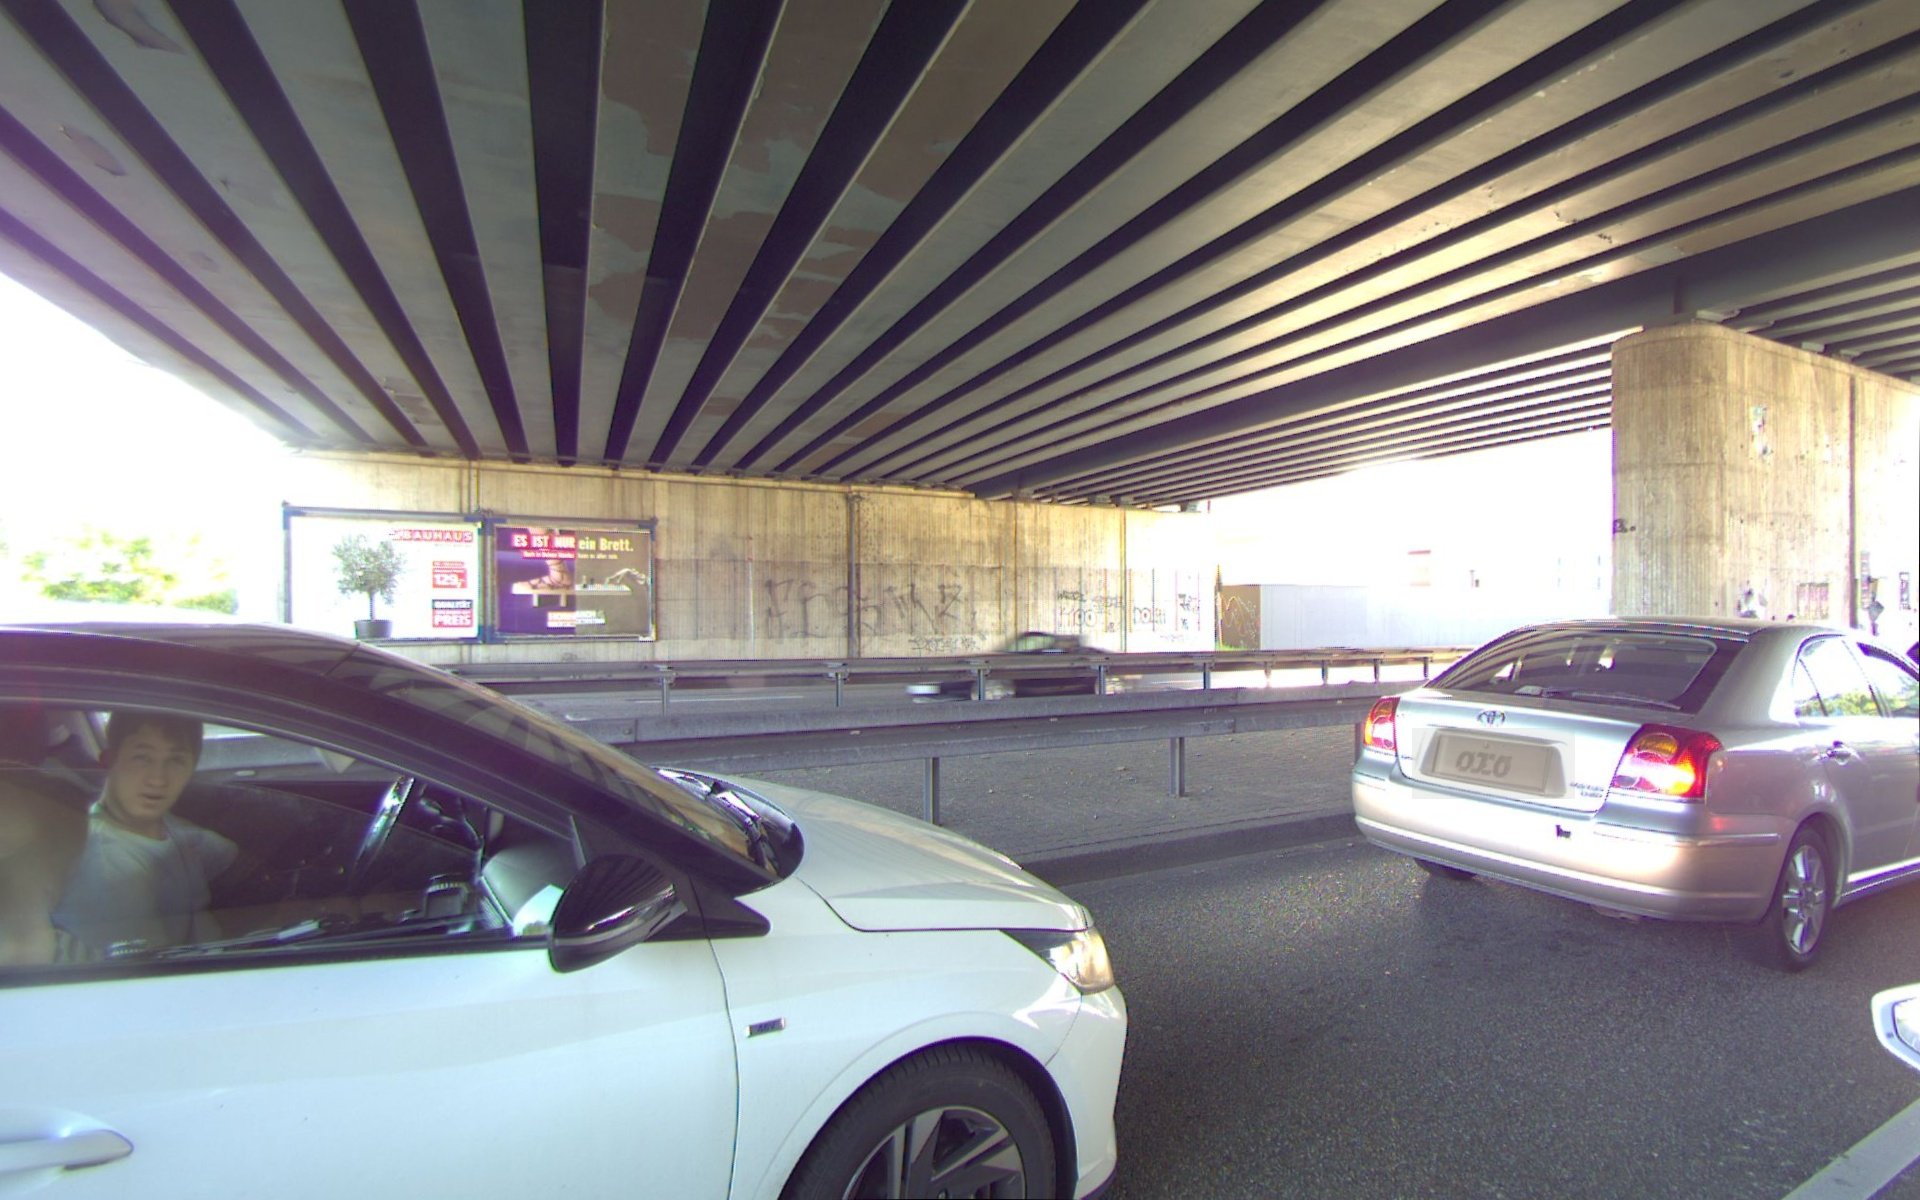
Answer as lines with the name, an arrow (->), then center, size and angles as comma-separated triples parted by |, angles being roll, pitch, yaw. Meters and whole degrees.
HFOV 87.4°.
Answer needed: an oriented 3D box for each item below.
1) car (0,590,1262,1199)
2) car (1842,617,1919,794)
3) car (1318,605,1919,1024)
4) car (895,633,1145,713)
car -> -1.399, 0.714, 1.997 | 3.828, 1.422, 1.723 | 2, -1, -32
car -> 9.609, 0.902, 8.874 | 3.770, 1.429, 1.684 | 1, 0, -31
car -> 4.097, 0.809, 5.446 | 4.347, 1.474, 1.688 | 1, 0, -31
car -> 1.040, 1.147, 16.776 | 3.955, 1.191, 1.675 | 1, -2, -32
